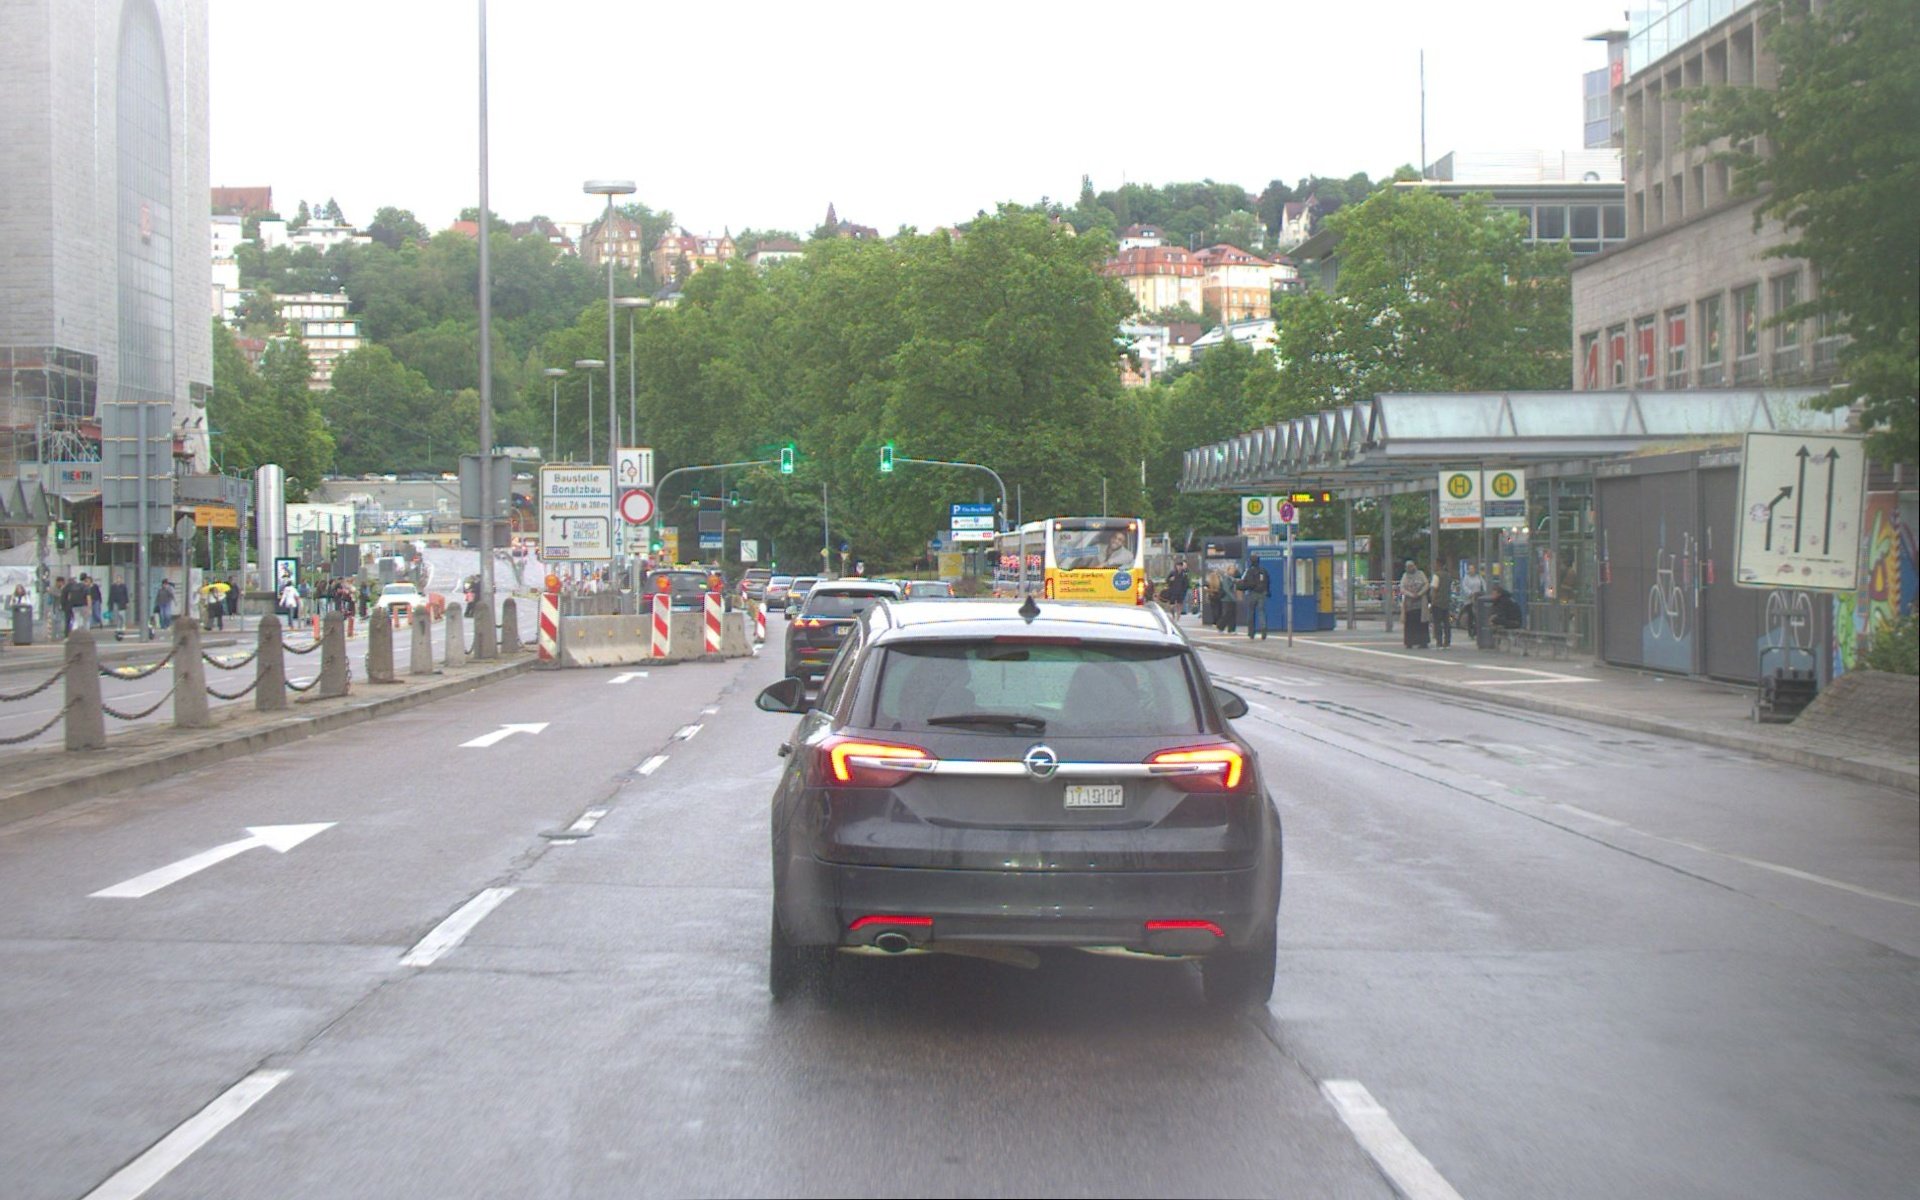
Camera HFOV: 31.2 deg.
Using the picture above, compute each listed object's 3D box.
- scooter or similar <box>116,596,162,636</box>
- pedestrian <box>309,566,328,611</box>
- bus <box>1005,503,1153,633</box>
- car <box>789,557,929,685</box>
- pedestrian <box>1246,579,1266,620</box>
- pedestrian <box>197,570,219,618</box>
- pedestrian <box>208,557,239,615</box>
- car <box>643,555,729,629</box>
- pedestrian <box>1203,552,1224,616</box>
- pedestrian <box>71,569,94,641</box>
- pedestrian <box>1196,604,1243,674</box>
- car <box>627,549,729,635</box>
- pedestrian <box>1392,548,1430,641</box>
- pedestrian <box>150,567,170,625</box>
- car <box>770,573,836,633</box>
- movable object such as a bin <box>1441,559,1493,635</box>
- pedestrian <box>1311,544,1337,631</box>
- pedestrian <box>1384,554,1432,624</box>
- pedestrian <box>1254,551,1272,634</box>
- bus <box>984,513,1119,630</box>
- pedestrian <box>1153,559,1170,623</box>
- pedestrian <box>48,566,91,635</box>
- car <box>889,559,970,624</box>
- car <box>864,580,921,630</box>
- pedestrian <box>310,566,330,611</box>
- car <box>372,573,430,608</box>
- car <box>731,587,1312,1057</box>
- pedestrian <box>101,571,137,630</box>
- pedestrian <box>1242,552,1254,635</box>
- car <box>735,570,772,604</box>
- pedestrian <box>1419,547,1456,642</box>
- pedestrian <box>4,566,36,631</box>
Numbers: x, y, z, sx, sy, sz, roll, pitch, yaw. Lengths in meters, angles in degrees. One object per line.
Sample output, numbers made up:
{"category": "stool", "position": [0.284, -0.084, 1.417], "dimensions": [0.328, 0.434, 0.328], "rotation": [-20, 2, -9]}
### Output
{"category": "scooter or similar", "position": [-22.282, 0.426, 93.294], "dimensions": [0.459, 1.062, 1.237], "rotation": [1, 1, 32]}
{"category": "pedestrian", "position": [-26.163, -0.455, 140.129], "dimensions": [0.697, 1.835, 0.528], "rotation": [0, 0, -5]}
{"category": "bus", "position": [3.050, -0.809, 91.070], "dimensions": [3.141, 3.236, 9.136], "rotation": [1, 0, -3]}
{"category": "car", "position": [-1.385, 0.261, 47.222], "dimensions": [1.830, 1.680, 4.134], "rotation": [0, 0, -2]}
{"category": "pedestrian", "position": [9.014, -0.010, 104.705], "dimensions": [0.514, 1.228, 0.770], "rotation": [0, 0, 0]}
{"category": "pedestrian", "position": [-26.348, -0.217, 120.469], "dimensions": [0.681, 1.680, 0.839], "rotation": [0, 0, -16]}
{"category": "pedestrian", "position": [-23.462, -0.437, 109.504], "dimensions": [0.875, 1.835, 0.839], "rotation": [0, 0, -16]}
{"category": "car", "position": [-6.574, -0.207, 82.729], "dimensions": [1.993, 1.700, 4.833], "rotation": [-1, 0, -4]}
{"category": "pedestrian", "position": [7.283, -0.451, 98.877], "dimensions": [0.565, 1.830, 0.569], "rotation": [0, 0, 1]}
{"category": "pedestrian", "position": [-22.603, 0.128, 88.534], "dimensions": [0.507, 1.835, 0.704], "rotation": [0, 0, -8]}
{"category": "pedestrian", "position": [6.316, 0.951, 83.589], "dimensions": [0.759, 1.684, 0.999], "rotation": [0, 0, -23]}
{"category": "car", "position": [-6.315, -0.201, 77.328], "dimensions": [1.993, 1.856, 4.833], "rotation": [-1, 0, -1]}
{"category": "pedestrian", "position": [8.944, -0.111, 68.225], "dimensions": [0.675, 1.830, 0.574], "rotation": [0, 0, 0]}
{"category": "pedestrian", "position": [-25.694, -0.130, 110.384], "dimensions": [0.570, 1.835, 0.704], "rotation": [0, 0, -16]}
{"category": "car", "position": [-5.402, 0.101, 117.948], "dimensions": [1.983, 2.007, 4.370], "rotation": [1, 0, -6]}
{"category": "movable object such as a bin", "position": [11.179, -0.074, 75.792], "dimensions": [0.662, 1.647, 1.049], "rotation": [0, 0, -25]}
{"category": "pedestrian", "position": [9.215, -0.322, 87.052], "dimensions": [0.590, 2.207, 0.587], "rotation": [0, 0, 0]}
{"category": "pedestrian", "position": [11.469, -0.283, 88.024], "dimensions": [0.786, 1.798, 0.992], "rotation": [-1, 0, -31]}
{"category": "pedestrian", "position": [6.730, -0.165, 76.351], "dimensions": [0.347, 1.830, 0.533], "rotation": [0, 0, 1]}
{"category": "bus", "position": [2.577, -0.789, 100.228], "dimensions": [3.113, 3.194, 9.243], "rotation": [1, 0, -3]}
{"category": "pedestrian", "position": [5.738, -0.253, 97.887], "dimensions": [0.443, 1.830, 0.577], "rotation": [0, 0, 2]}
{"category": "pedestrian", "position": [-23.705, 0.014, 91.530], "dimensions": [0.703, 1.835, 0.876], "rotation": [0, 0, 26]}
{"category": "car", "position": [-0.855, -0.226, 93.925], "dimensions": [1.851, 1.711, 4.001], "rotation": [1, 0, -5]}
{"category": "car", "position": [-2.206, 0.145, 111.509], "dimensions": [1.674, 1.576, 3.240], "rotation": [1, 0, -4]}
{"category": "pedestrian", "position": [-26.226, -0.462, 140.845], "dimensions": [0.697, 1.835, 0.878], "rotation": [1, 0, -5]}
{"category": "car", "position": [-24.215, -0.404, 148.991], "dimensions": [1.993, 1.463, 4.000], "rotation": [1, 0, -3]}
{"category": "car", "position": [0.152, 0.712, 13.571], "dimensions": [1.877, 1.503, 4.852], "rotation": [0, 0, -1]}
{"category": "pedestrian", "position": [-26.189, 0.005, 107.091], "dimensions": [0.839, 1.835, 1.058], "rotation": [0, 0, 1]}
{"category": "pedestrian", "position": [6.393, -0.146, 76.322], "dimensions": [0.243, 1.830, 0.512], "rotation": [0, 0, 1]}
{"category": "car", "position": [-10.280, -0.660, 171.528], "dimensions": [1.706, 1.660, 3.706], "rotation": [1, 0, -1]}
{"category": "pedestrian", "position": [9.335, -0.108, 67.181], "dimensions": [0.627, 1.830, 0.641], "rotation": [0, 0, 0]}
{"category": "pedestrian", "position": [-26.486, -0.039, 96.889], "dimensions": [0.721, 1.835, 0.612], "rotation": [0, 0, 1]}
